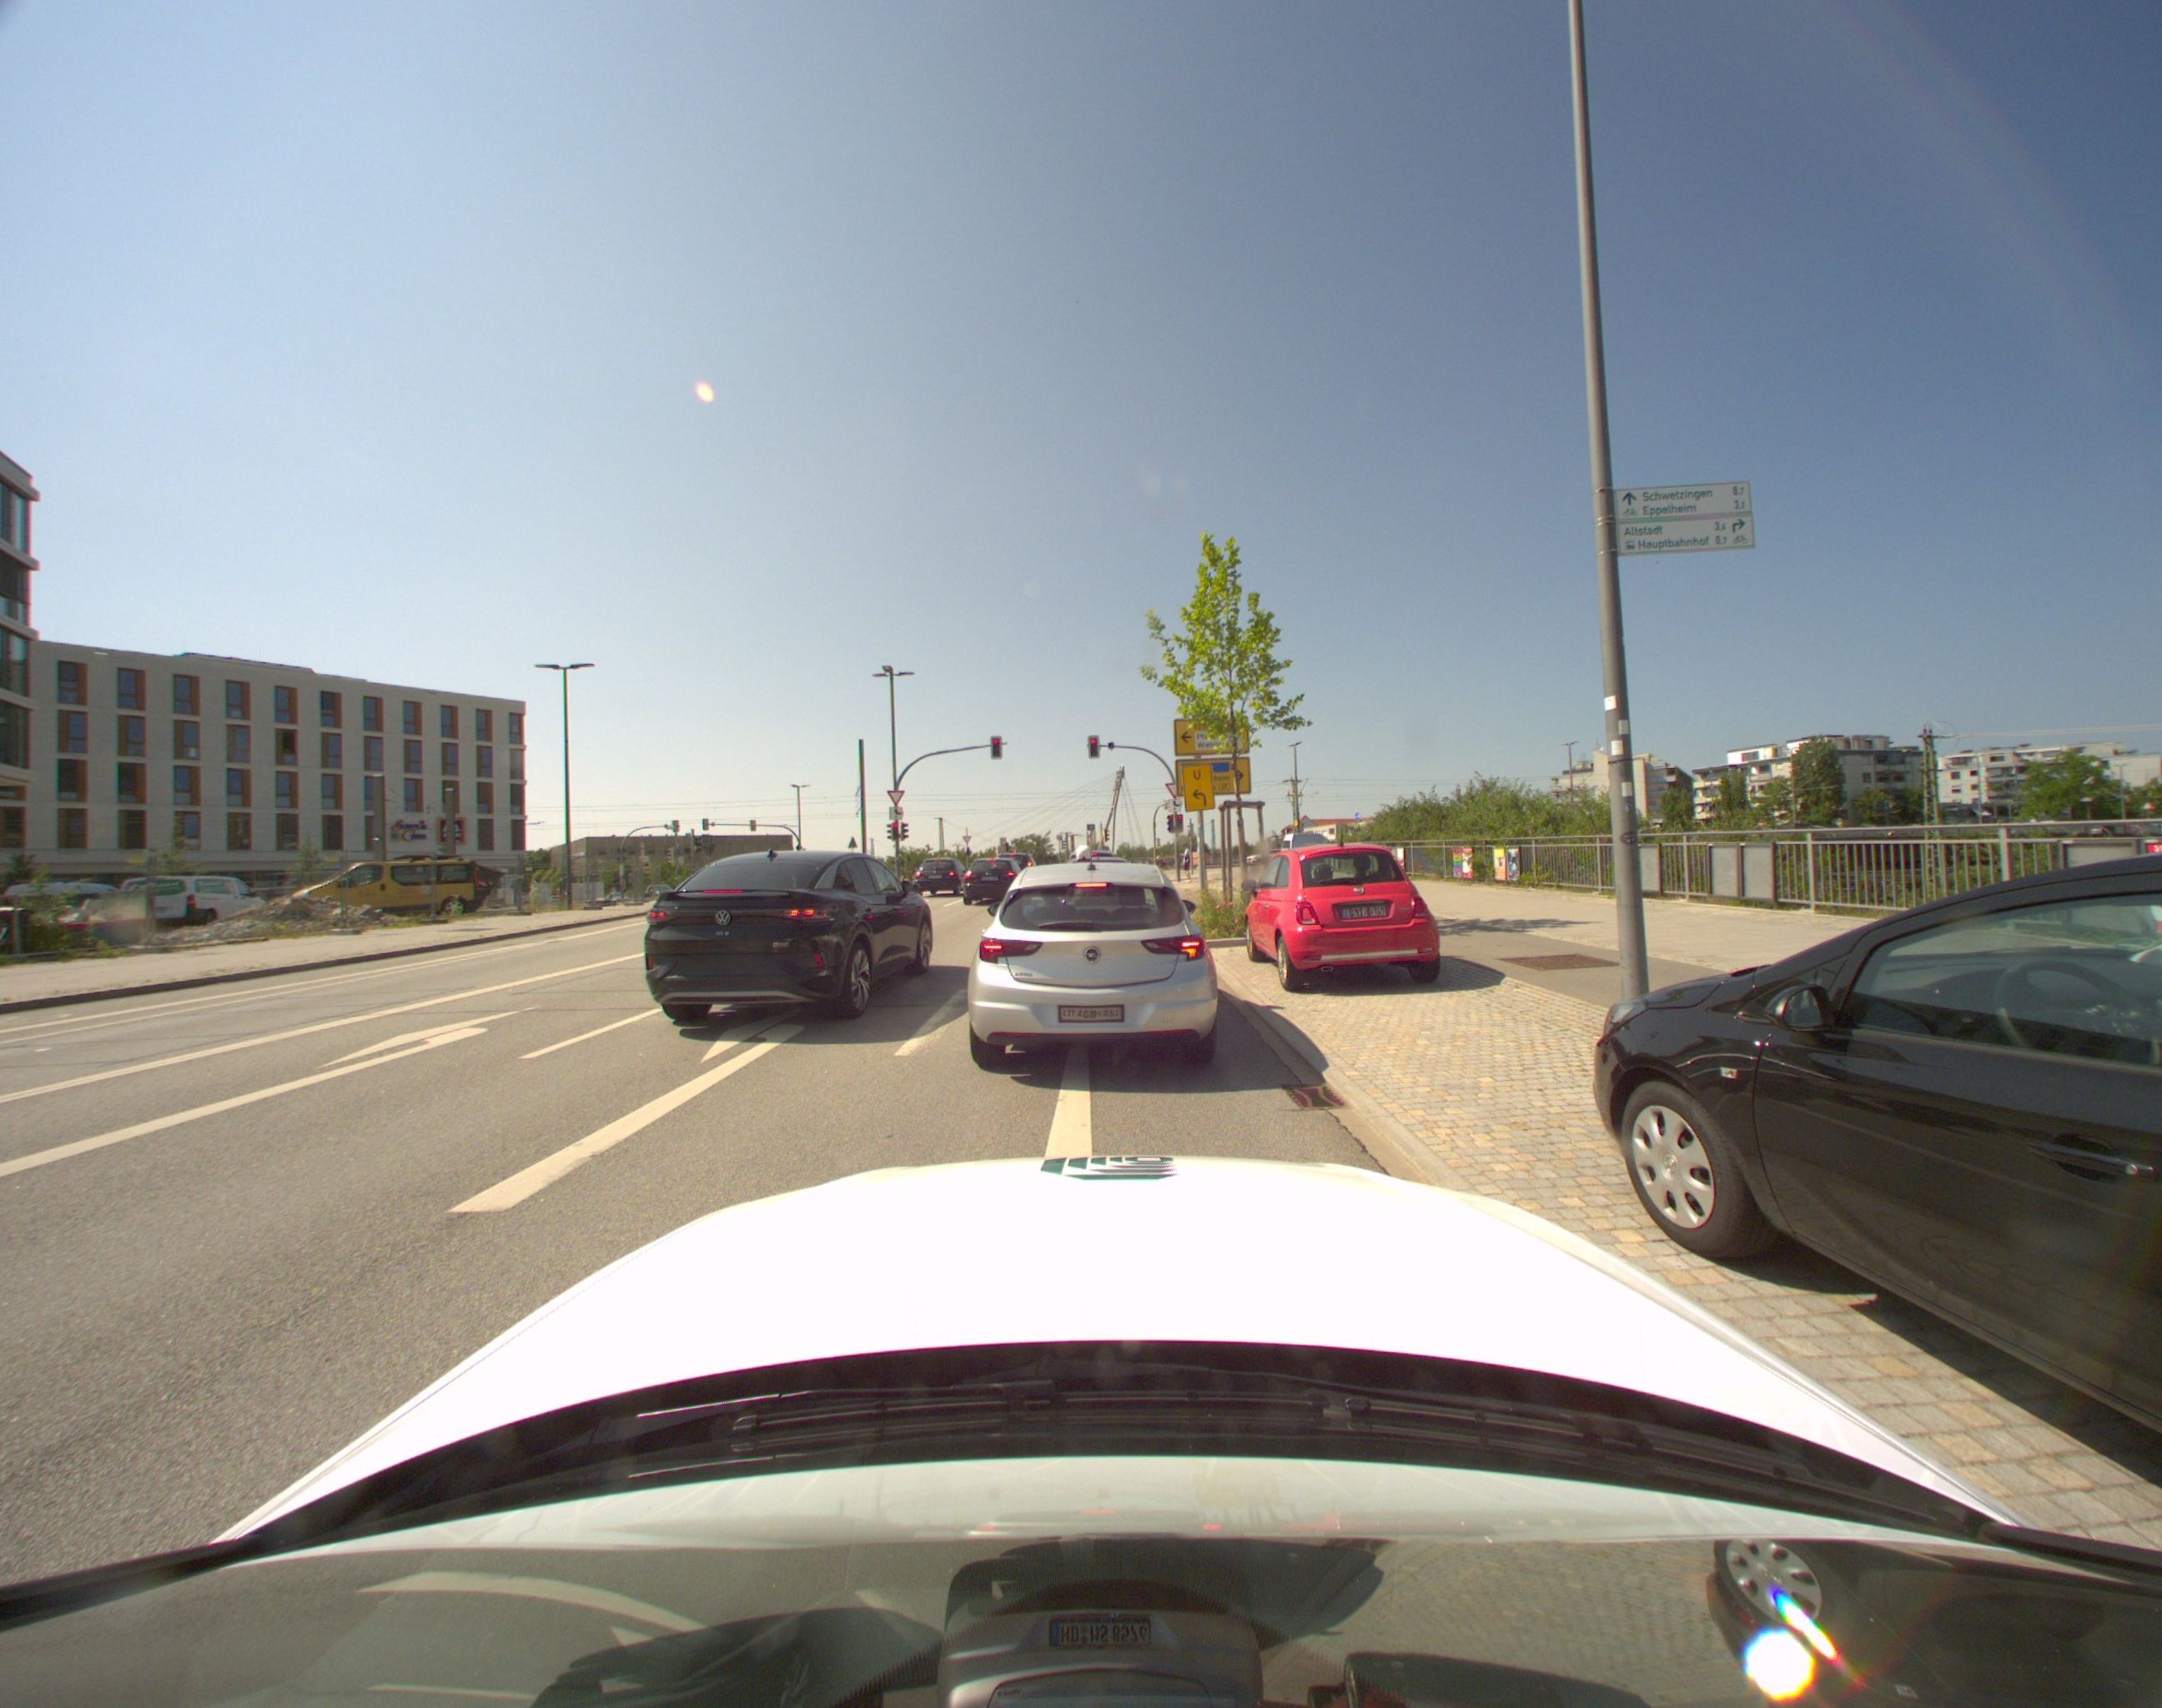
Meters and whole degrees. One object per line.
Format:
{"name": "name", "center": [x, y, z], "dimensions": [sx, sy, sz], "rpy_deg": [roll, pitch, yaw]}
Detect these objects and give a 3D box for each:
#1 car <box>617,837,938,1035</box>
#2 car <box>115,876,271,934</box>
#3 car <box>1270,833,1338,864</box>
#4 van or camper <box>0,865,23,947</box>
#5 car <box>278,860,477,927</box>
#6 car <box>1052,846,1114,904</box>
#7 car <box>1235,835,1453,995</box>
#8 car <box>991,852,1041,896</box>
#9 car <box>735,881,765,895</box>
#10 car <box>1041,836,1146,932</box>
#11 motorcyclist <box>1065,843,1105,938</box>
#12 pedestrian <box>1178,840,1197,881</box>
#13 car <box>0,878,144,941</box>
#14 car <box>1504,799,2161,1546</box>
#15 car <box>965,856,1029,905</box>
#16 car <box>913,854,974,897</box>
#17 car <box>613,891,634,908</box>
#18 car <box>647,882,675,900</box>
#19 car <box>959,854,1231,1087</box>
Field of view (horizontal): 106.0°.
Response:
{"name": "car", "center": [-2.929, 0.705, 9.013], "dimensions": [1.795, 1.641, 4.367], "rpy_deg": [0, -1, 2]}
{"name": "car", "center": [-31.023, 1.692, 28.669], "dimensions": [1.873, 1.774, 4.619], "rpy_deg": [0, -1, -22]}
{"name": "car", "center": [17.891, -0.471, 65.348], "dimensions": [5.009, 2.376, 1.774], "rpy_deg": [-1, -1, -16]}
{"name": "van or camper", "center": [-36.490, 1.721, 25.374], "dimensions": [2.318, 2.735, 4.944], "rpy_deg": [0, -1, -26]}
{"name": "car", "center": [-22.695, 1.192, 26.434], "dimensions": [1.964, 1.962, 4.655], "rpy_deg": [-1, -1, 40]}
{"name": "car", "center": [0.126, 0.562, 24.531], "dimensions": [1.717, 1.563, 4.002], "rpy_deg": [0, 1, 2]}
{"name": "car", "center": [2.933, 0.606, 9.789], "dimensions": [1.603, 1.496, 3.355], "rpy_deg": [-4, 0, 3]}
{"name": "car", "center": [-2.491, 0.755, 31.785], "dimensions": [1.644, 1.615, 3.819], "rpy_deg": [0, -1, 0]}
{"name": "car", "center": [-33.051, 3.418, 81.284], "dimensions": [1.831, 1.331, 3.954], "rpy_deg": [0, -2, -38]}
{"name": "car", "center": [0.301, 0.560, 17.718], "dimensions": [1.986, 1.820, 4.404], "rpy_deg": [0, 0, 2]}
{"name": "motorcyclist", "center": [0.071, 0.539, 12.370], "dimensions": [0.579, 1.389, 0.707], "rpy_deg": [0, -1, 1]}
{"name": "pedestrian", "center": [4.841, 0.292, 37.125], "dimensions": [0.645, 1.836, 0.798], "rpy_deg": [-4, -1, 0]}
{"name": "car", "center": [-33.677, 1.774, 27.190], "dimensions": [1.794, 1.857, 3.817], "rpy_deg": [0, -1, -27]}
{"name": "car", "center": [2.874, 0.574, 1.919], "dimensions": [1.654, 1.426, 4.000], "rpy_deg": [-4, -1, 1]}
{"name": "car", "center": [-2.593, 0.786, 25.901], "dimensions": [1.569, 1.434, 3.786], "rpy_deg": [0, -1, 1]}
{"name": "car", "center": [-5.220, 0.788, 31.341], "dimensions": [1.591, 1.547, 3.764], "rpy_deg": [0, -1, 2]}
{"name": "car", "center": [-46.599, 4.627, 82.953], "dimensions": [1.578, 1.587, 3.441], "rpy_deg": [0, -1, -35]}
{"name": "car", "center": [-38.596, 3.408, 74.836], "dimensions": [1.686, 1.476, 3.368], "rpy_deg": [-2, 0, -37]}
{"name": "car", "center": [0.074, 0.760, 7.237], "dimensions": [1.738, 1.478, 3.998], "rpy_deg": [0, -1, -1]}
